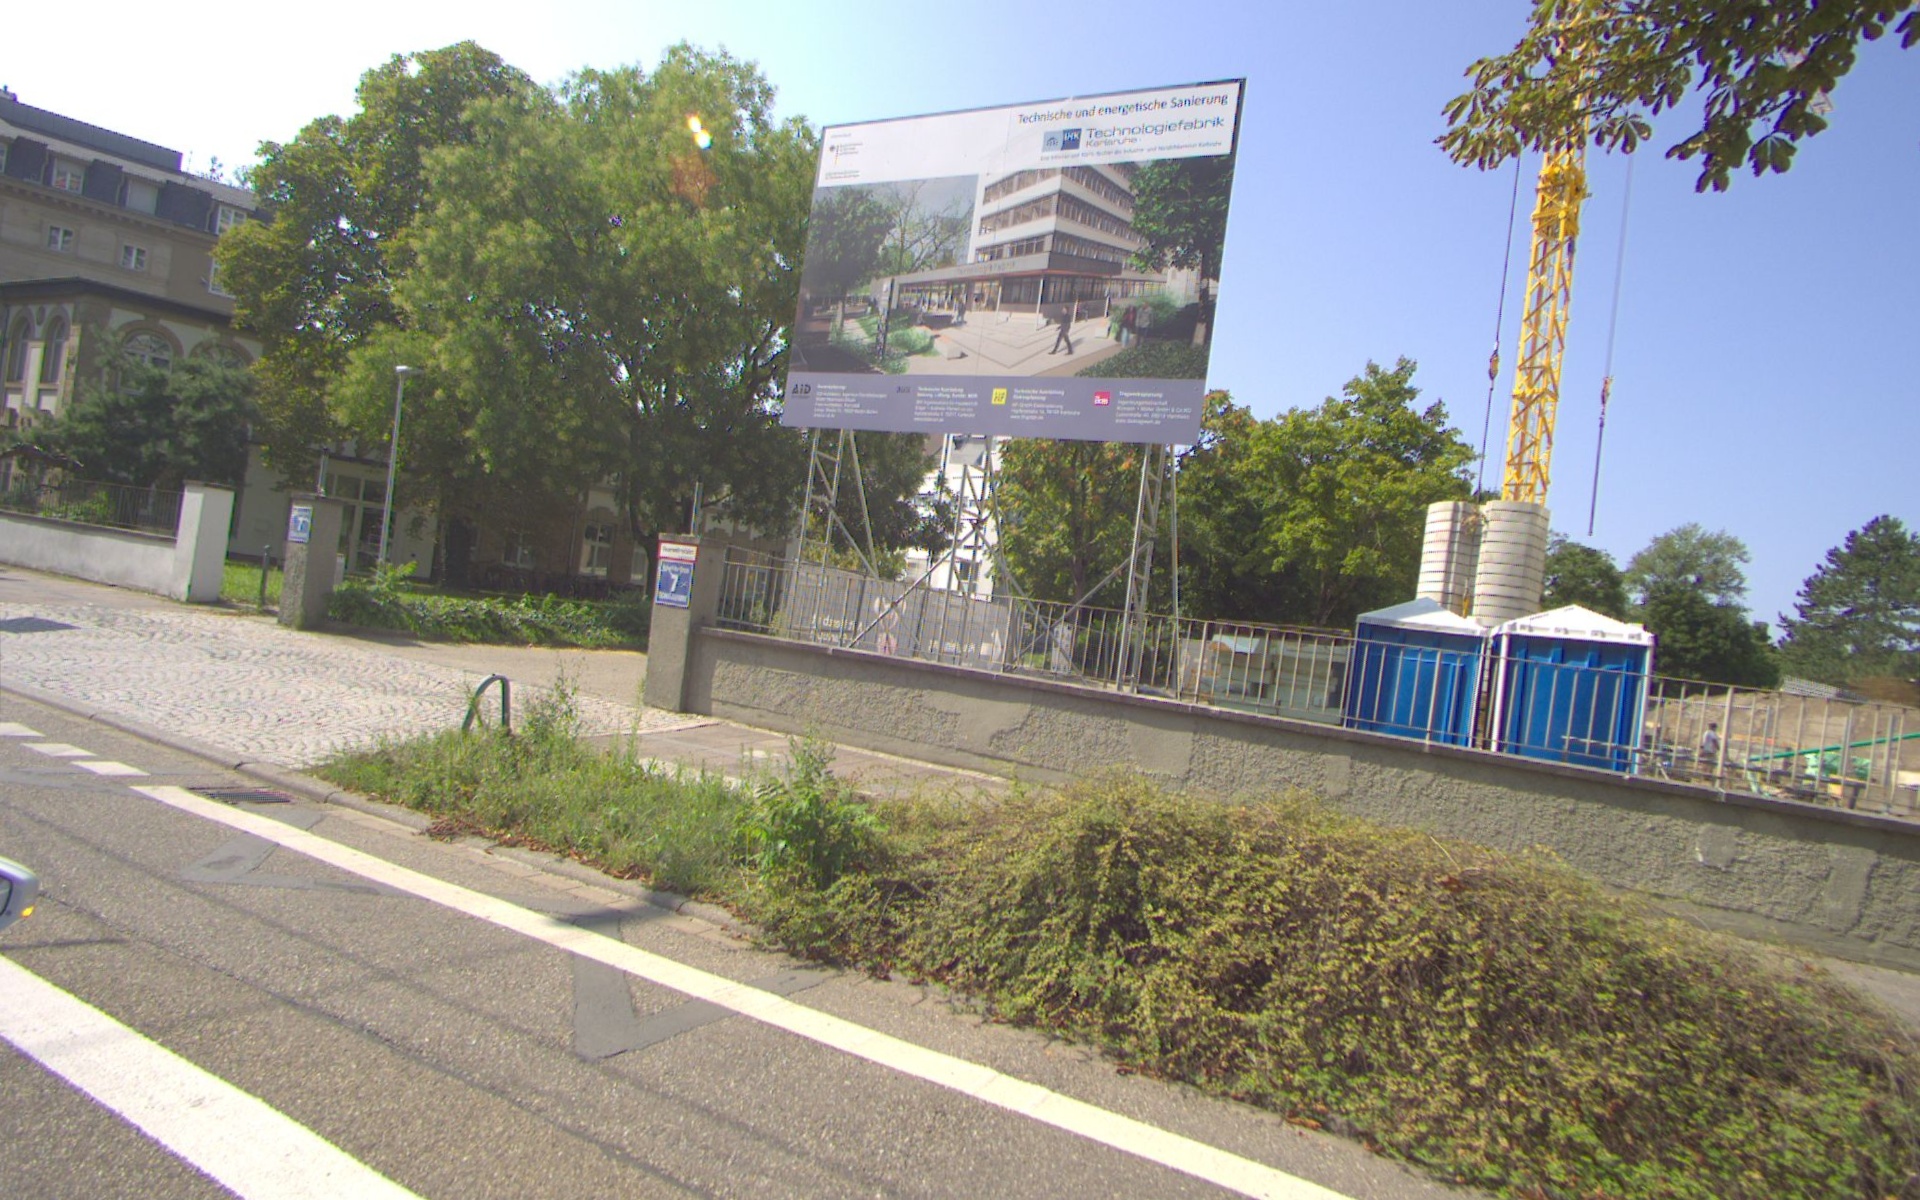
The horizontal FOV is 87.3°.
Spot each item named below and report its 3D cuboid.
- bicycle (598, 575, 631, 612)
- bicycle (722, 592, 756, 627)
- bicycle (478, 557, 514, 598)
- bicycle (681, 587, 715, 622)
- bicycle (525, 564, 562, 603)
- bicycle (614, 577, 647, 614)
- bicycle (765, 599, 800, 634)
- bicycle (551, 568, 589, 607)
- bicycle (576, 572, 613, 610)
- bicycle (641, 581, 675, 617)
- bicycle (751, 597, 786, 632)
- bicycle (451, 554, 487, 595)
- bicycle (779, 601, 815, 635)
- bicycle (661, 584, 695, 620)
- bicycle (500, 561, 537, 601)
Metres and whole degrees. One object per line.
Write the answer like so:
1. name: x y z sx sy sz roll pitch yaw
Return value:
1. bicycle: -13.643 -0.287 39.671 0.621 1.318 2.254 8 -2 -32
2. bicycle: -9.405 0.408 42.747 0.603 1.318 2.156 8 -2 -32
3. bicycle: -16.903 -0.841 36.618 0.764 1.318 2.505 8 -2 -32
4. bicycle: -10.858 0.167 41.615 0.603 1.318 2.156 8 -2 -32
5. bicycle: -15.666 -0.625 37.797 0.764 1.318 2.505 8 -2 -32
6. bicycle: -13.128 -0.200 40.068 0.603 1.318 2.156 8 -2 -32
7. bicycle: -7.749 0.705 43.902 0.603 1.318 2.156 8 -2 -32
8. bicycle: -15.005 -0.494 38.620 0.764 1.318 2.505 8 -2 -32
9. bicycle: -14.237 -0.371 39.176 0.764 1.318 2.254 8 -2 -32
10. bicycle: -12.261 -0.046 40.818 0.603 1.318 2.156 8 -2 -32
11. bicycle: -8.299 0.615 43.507 0.603 1.318 2.156 8 -2 -32
12. bicycle: -17.701 -0.944 36.243 0.764 1.318 2.505 8 -2 -32
13. bicycle: -7.195 0.796 44.282 0.603 1.318 2.156 8 -2 -32
14. bicycle: -11.542 0.081 41.095 0.603 1.318 2.156 8 -2 -32
15. bicycle: -16.336 -0.721 37.193 0.764 1.318 2.505 8 -2 -32
